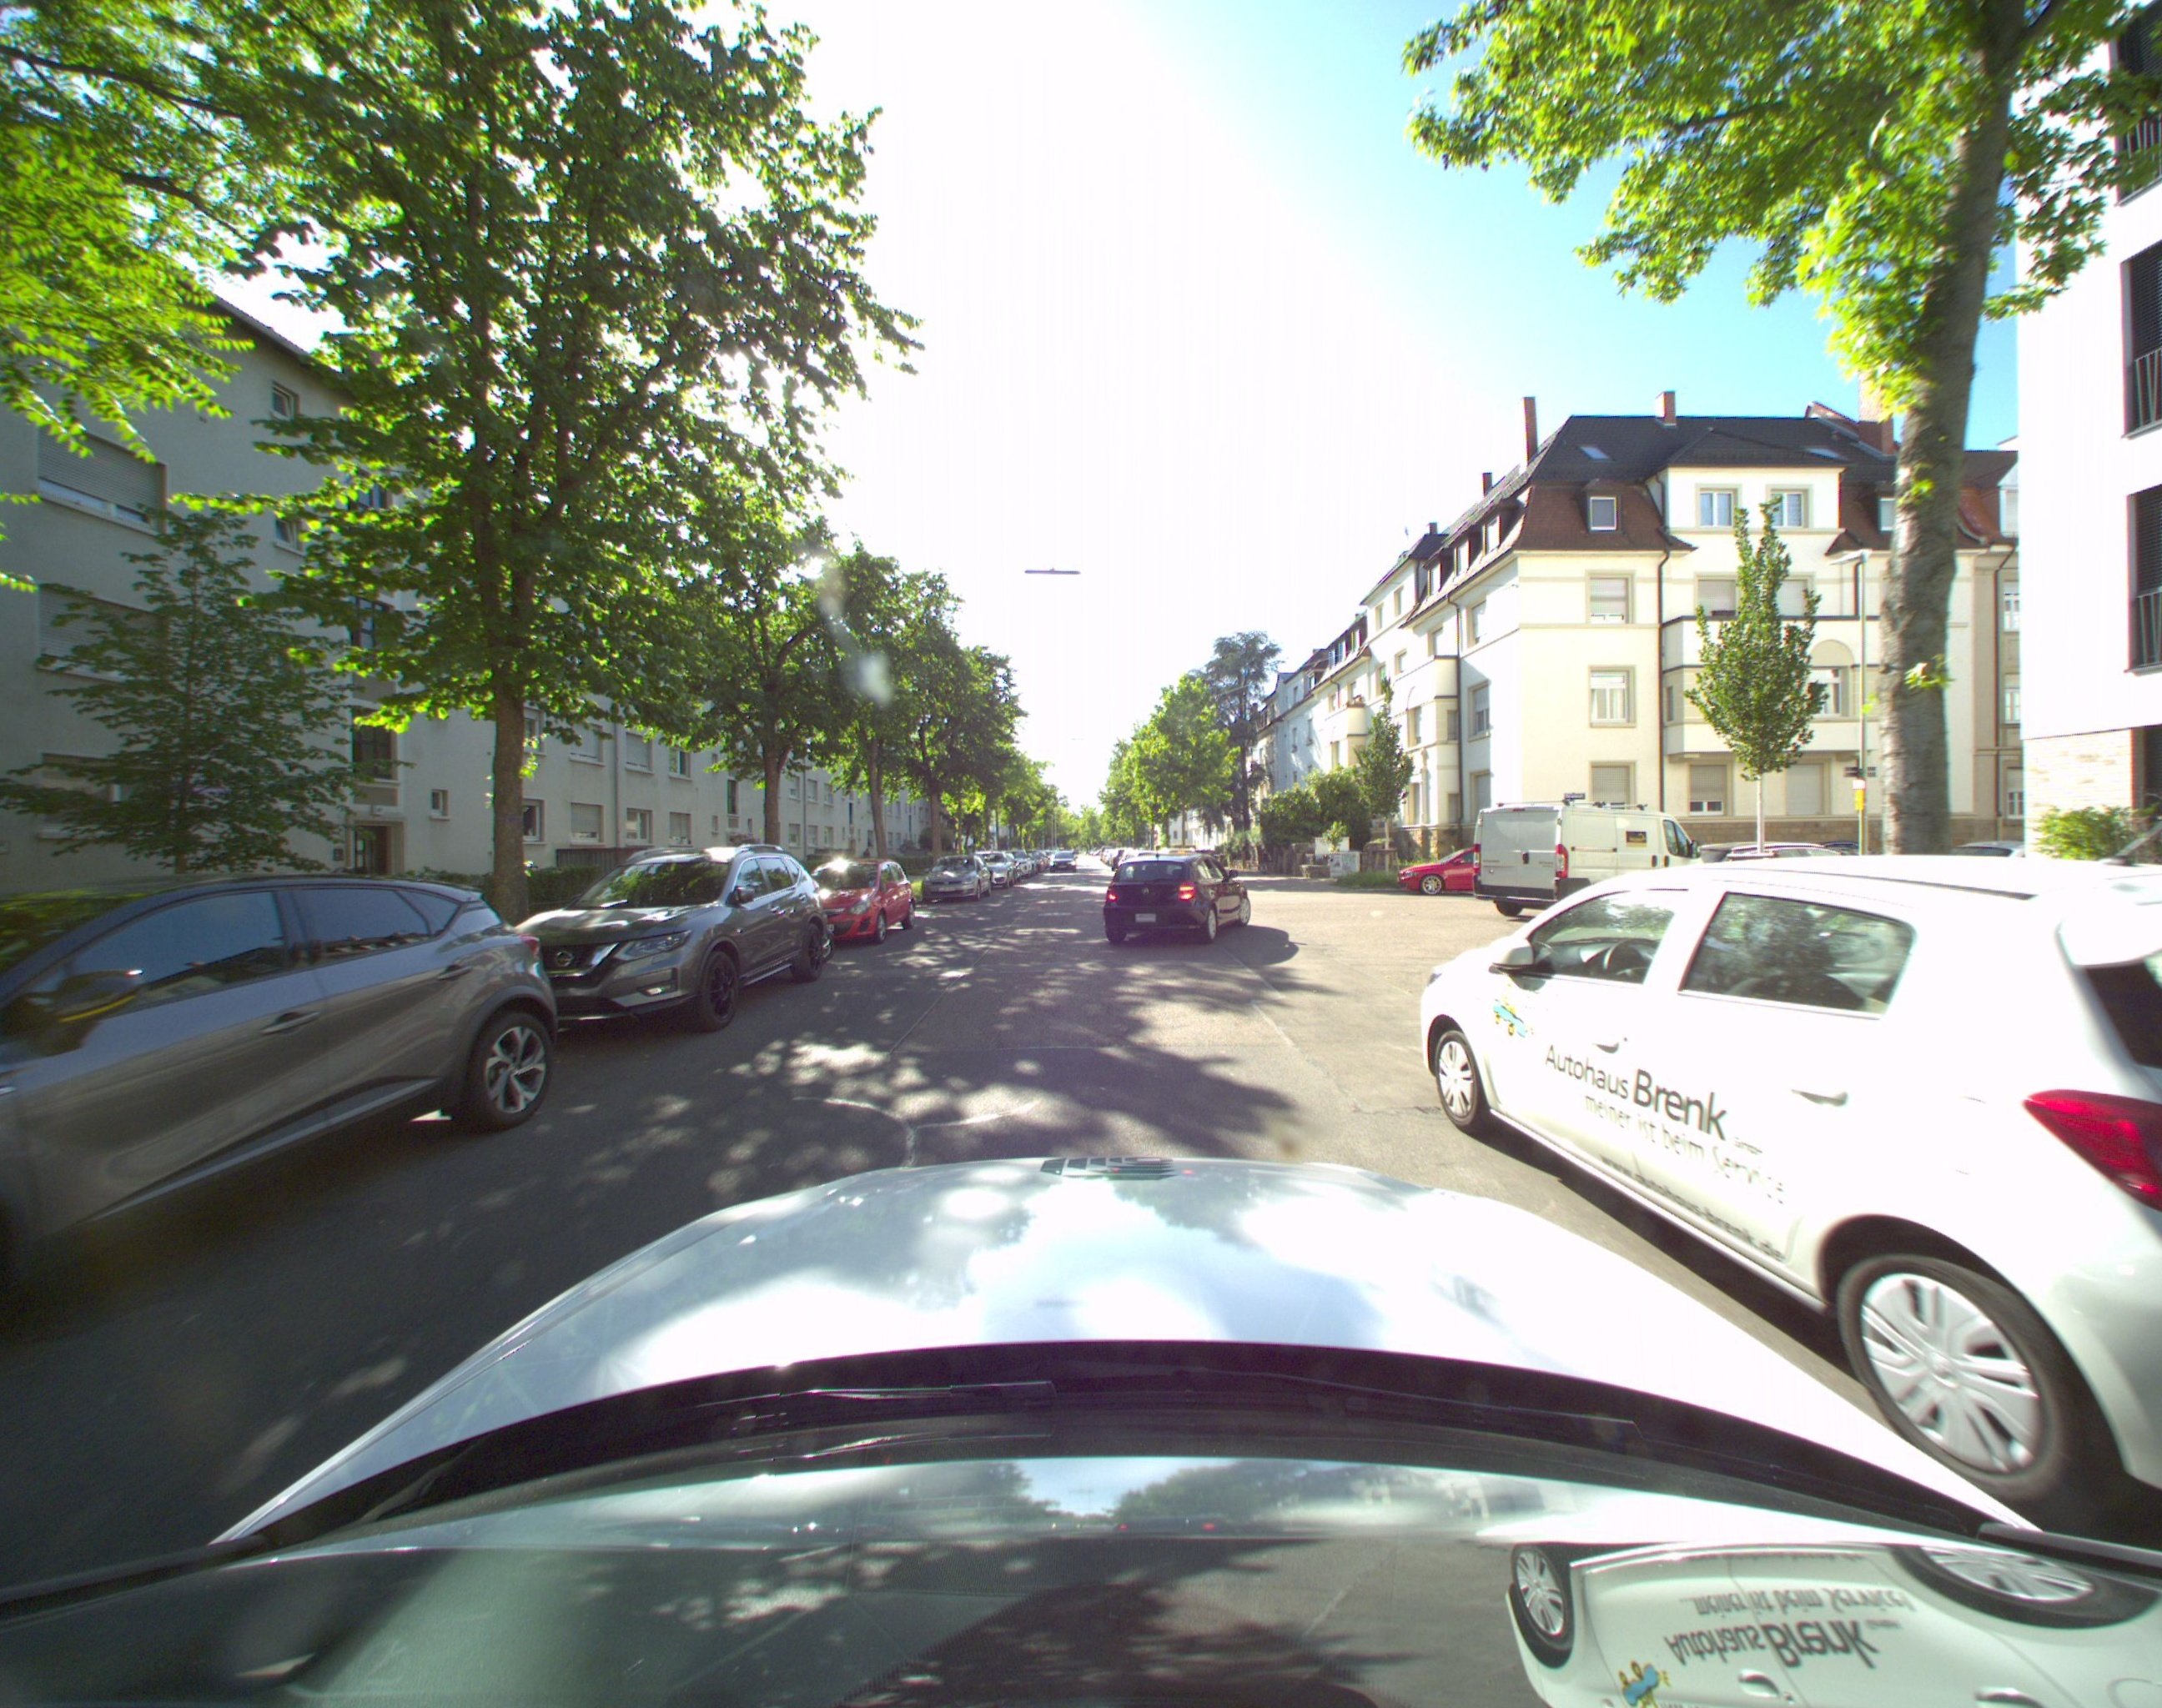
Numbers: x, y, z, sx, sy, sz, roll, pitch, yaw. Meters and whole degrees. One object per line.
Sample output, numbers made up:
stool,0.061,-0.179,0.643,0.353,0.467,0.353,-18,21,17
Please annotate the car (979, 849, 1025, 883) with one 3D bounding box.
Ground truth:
car,-3.776,0.550,39.659,1.723,1.446,4.819,-3,1,-1

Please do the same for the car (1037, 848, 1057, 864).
car,-3.503,0.152,84.503,1.704,1.544,3.930,-3,0,1

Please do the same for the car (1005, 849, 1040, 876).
car,-3.664,0.484,51.565,1.722,1.477,4.619,-4,0,0

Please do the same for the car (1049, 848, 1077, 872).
car,-1.196,0.378,55.399,1.803,1.445,4.365,-2,0,-1

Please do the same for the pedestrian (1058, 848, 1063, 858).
pedestrian,-3.953,-0.181,157.902,0.715,1.900,0.834,-1,0,-10

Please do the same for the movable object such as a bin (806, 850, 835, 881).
movable object such as a bin,-11.543,0.511,36.120,0.928,1.324,1.376,-1,0,-5

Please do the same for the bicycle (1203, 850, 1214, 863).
bicycle,9.526,0.188,60.755,0.579,0.975,1.904,-2,0,2

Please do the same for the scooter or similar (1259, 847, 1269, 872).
scooter or similar,9.056,0.264,40.240,0.398,1.185,1.211,-1,1,15

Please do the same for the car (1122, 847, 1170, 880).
car,3.061,0.403,39.082,1.816,1.469,4.907,1,0,-1

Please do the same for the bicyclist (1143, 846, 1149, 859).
bicyclist,8.061,-0.213,101.166,0.675,1.553,1.021,-1,0,-3

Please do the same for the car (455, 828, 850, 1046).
car,-4.102,0.641,8.914,1.762,1.688,4.812,-2,0,-1

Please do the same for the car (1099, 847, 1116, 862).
car,3.541,0.066,109.426,1.965,1.949,4.984,-1,0,0

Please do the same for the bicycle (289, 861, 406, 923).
bicycle,-15.559,0.766,17.354,0.683,1.201,1.913,-1,0,2

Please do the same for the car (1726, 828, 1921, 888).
car,21.820,0.104,24.048,4.159,1.640,1.833,-1,0,-2

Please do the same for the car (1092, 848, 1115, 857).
car,4.173,-0.349,150.928,3.979,1.587,1.724,-1,0,-4

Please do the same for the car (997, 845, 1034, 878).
car,-3.660,0.399,46.224,1.723,1.618,4.365,-4,0,-1

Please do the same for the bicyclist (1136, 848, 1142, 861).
bicyclist,7.187,0.020,101.227,0.675,1.609,0.921,-1,0,-3

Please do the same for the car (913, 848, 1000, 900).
car,-3.951,0.573,26.641,2.035,1.524,4.607,-1,1,1

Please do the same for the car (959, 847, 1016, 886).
car,-3.861,0.471,34.473,2.059,1.524,4.717,-1,1,-3

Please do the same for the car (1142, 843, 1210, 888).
car,3.446,0.403,30.515,1.890,1.524,4.964,0,0,-1

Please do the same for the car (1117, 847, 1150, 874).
car,3.179,0.344,49.798,1.649,1.532,3.967,1,0,-1

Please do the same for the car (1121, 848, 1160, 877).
car,3.164,0.417,44.072,1.706,1.410,4.859,1,0,-1

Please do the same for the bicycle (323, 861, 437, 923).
bicycle,-14.854,0.765,17.340,0.683,1.201,1.913,-1,0,2

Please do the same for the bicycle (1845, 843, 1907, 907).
bicycle,15.287,0.378,15.643,2.003,1.174,0.655,0,0,-40

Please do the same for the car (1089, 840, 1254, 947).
car,1.701,0.563,13.922,1.767,1.523,4.021,-2,0,22

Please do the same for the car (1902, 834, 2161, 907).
car,21.597,0.321,18.039,4.913,1.428,1.961,-1,2,-1

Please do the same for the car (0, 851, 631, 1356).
car,-4.188,0.777,3.677,1.763,1.531,4.420,-1,0,1

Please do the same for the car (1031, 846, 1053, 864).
car,-3.730,0.086,78.259,1.805,1.596,4.232,-2,0,0

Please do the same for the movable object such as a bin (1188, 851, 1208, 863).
movable object such as a bin,9.266,0.229,64.262,1.211,0.904,1.673,-1,0,20

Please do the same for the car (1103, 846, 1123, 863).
car,3.479,0.038,89.101,1.901,1.699,4.313,2,0,0

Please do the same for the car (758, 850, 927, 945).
car,-4.220,0.690,15.172,1.850,1.469,4.182,-1,1,0

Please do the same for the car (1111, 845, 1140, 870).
car,3.209,0.220,59.379,1.918,1.651,5.097,1,1,2

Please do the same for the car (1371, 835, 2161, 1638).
car,2.813,0.689,3.369,1.728,1.487,4.007,0,0,-2

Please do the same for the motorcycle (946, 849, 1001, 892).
motorcycle,-4.032,0.608,30.495,0.995,1.503,2.207,-2,0,-40

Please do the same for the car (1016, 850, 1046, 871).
car,-3.554,0.441,58.486,1.773,1.379,4.263,-3,0,1

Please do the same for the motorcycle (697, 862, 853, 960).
motorcycle,-4.428,0.816,11.869,1.942,1.332,0.789,-1,0,8

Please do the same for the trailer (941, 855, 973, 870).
trailer,-9.211,0.589,60.753,1.782,1.034,3.283,-1,0,2

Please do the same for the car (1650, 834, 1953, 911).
car,15.538,0.361,17.753,4.915,1.469,2.046,-1,1,-2

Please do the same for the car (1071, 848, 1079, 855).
car,-1.607,-0.690,205.806,1.780,1.609,3.994,-1,0,-4

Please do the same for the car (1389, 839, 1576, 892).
car,11.792,0.349,24.262,4.684,1.469,1.961,-1,0,14

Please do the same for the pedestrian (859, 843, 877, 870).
pedestrian,-15.200,0.190,58.106,0.773,1.913,0.884,-1,0,27

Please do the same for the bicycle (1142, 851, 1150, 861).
bicycle,8.048,0.235,101.603,0.682,1.153,2.400,-1,0,-3

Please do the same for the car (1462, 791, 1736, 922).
car,10.454,-0.008,16.436,5.063,2.306,2.217,-1,0,-24
